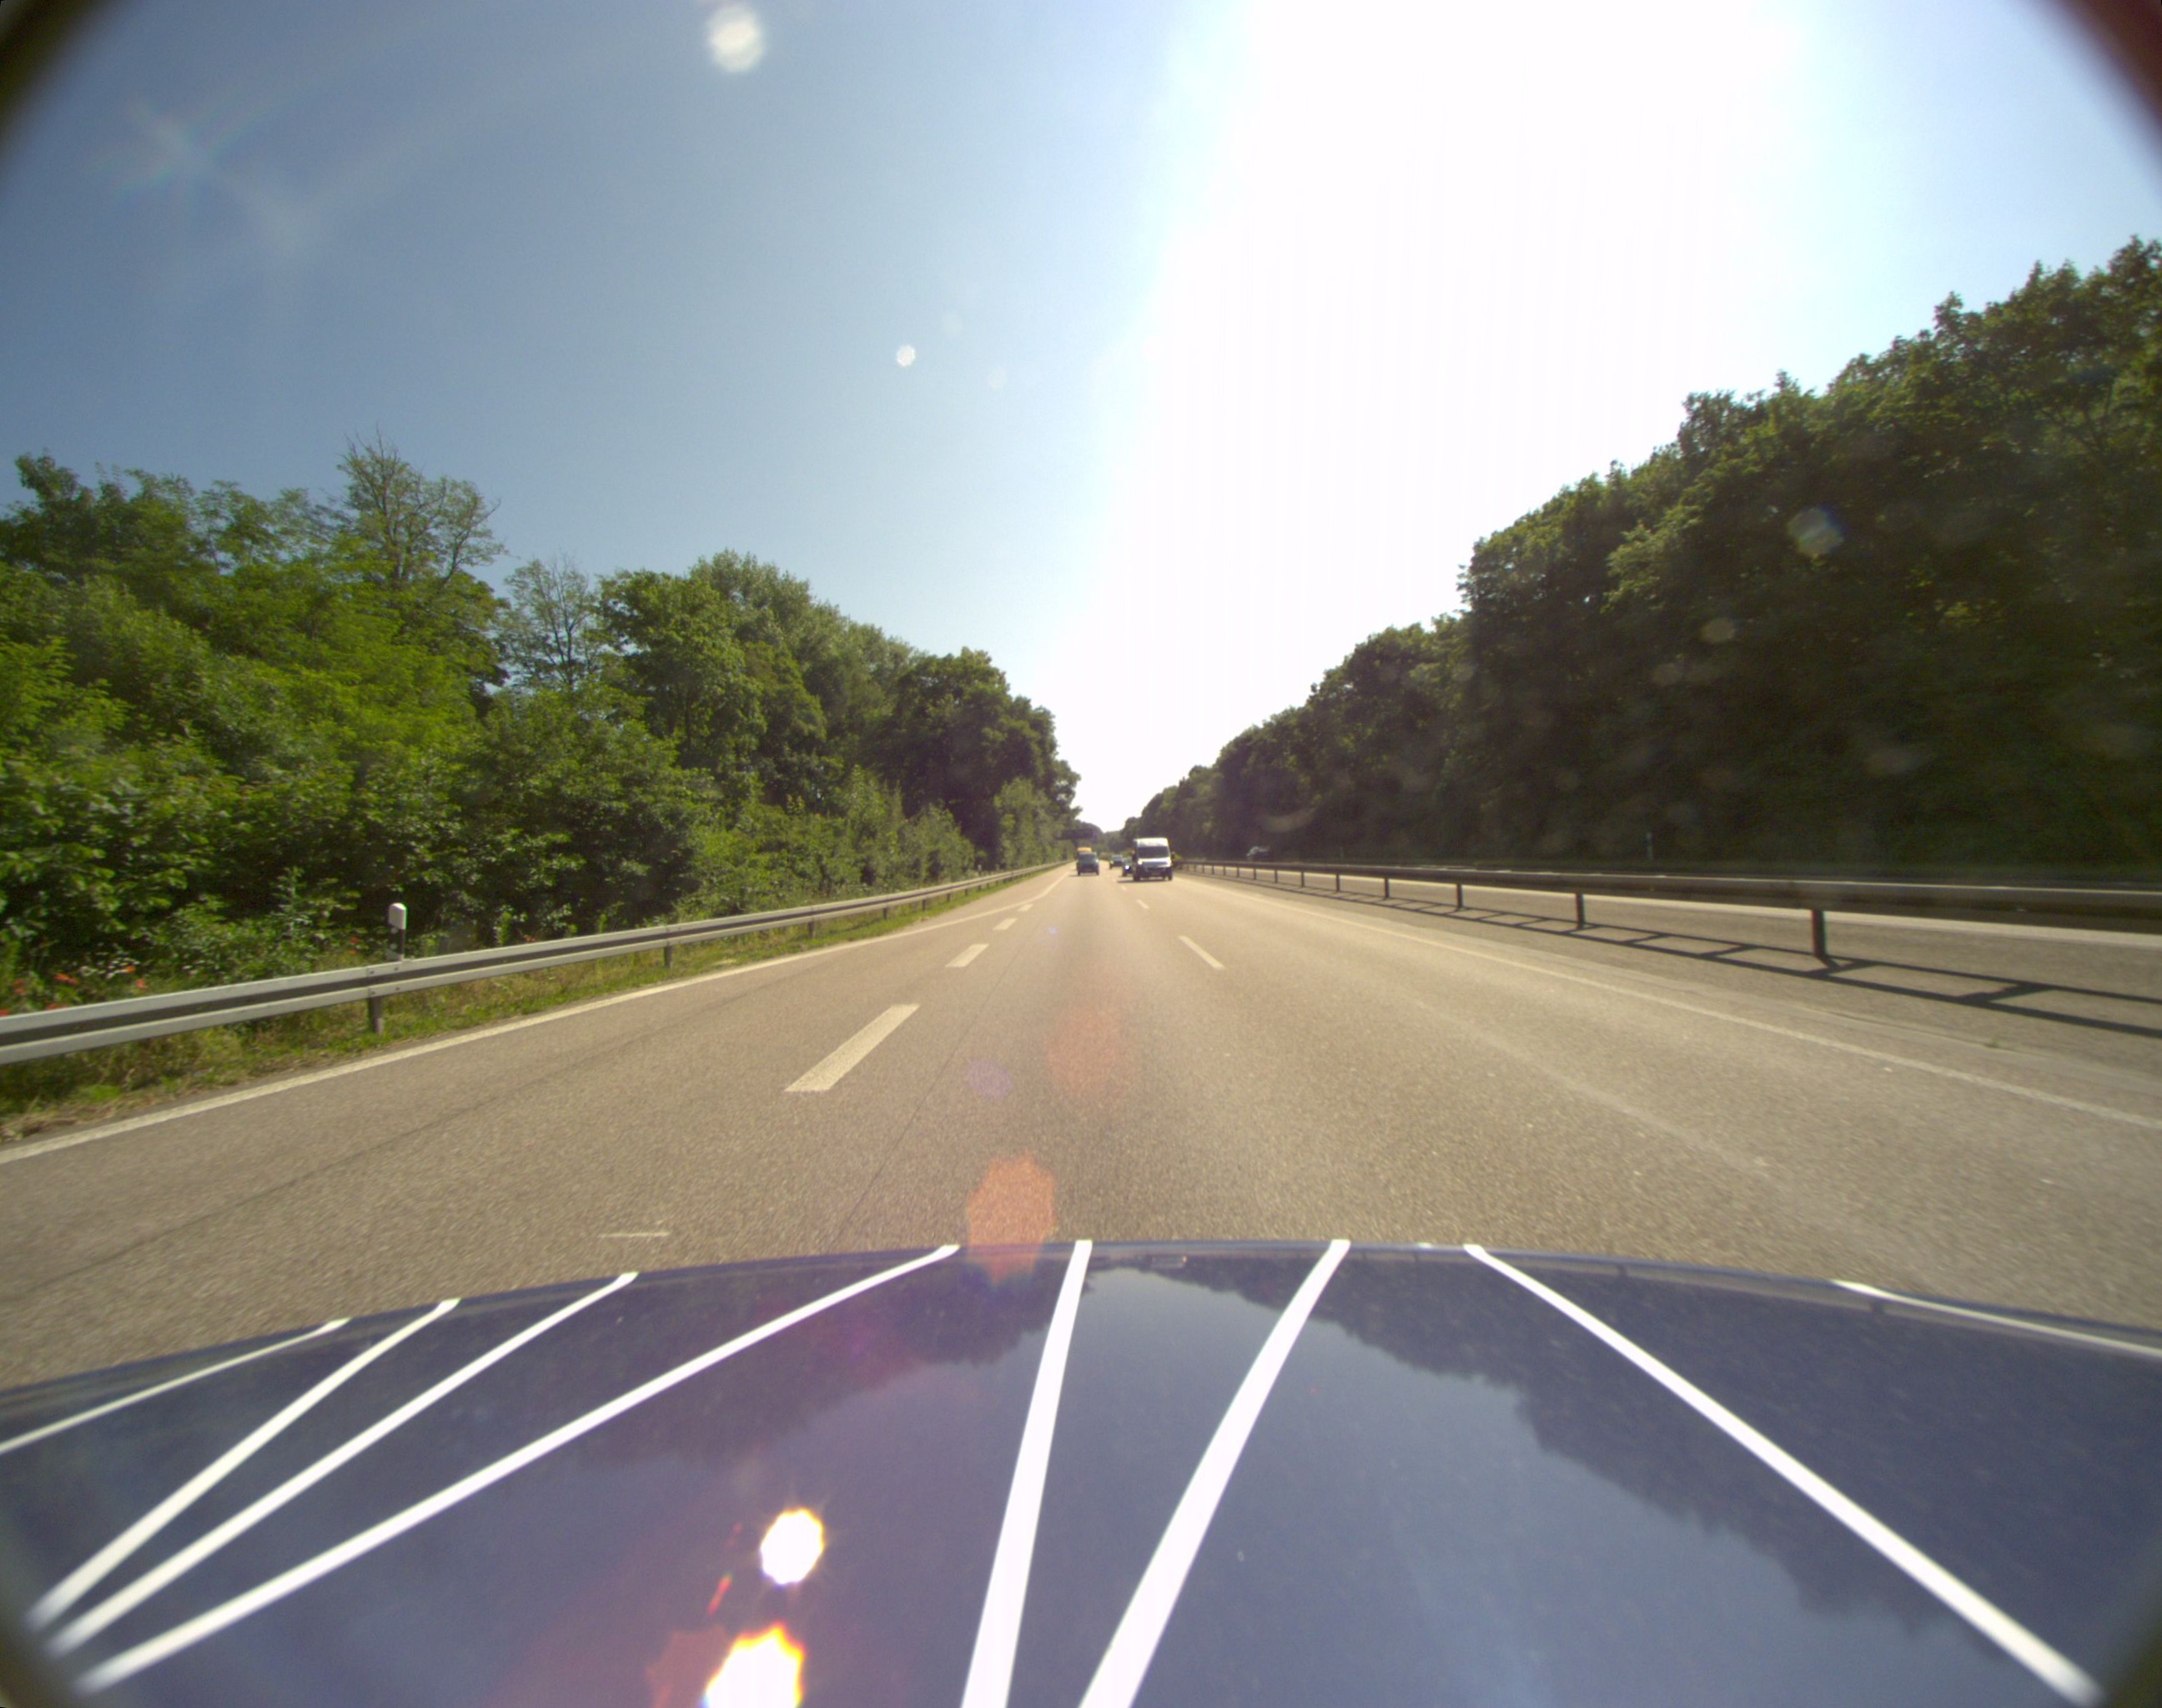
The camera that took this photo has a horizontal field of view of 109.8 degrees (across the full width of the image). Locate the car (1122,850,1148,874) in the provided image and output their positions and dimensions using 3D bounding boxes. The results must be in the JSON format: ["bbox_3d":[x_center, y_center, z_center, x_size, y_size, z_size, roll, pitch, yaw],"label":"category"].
[{"bbox_3d":[3.959,0.575,56.240,1.666,1.624,3.644,-2,0,1],"label":"car"}]

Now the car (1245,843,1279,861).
[{"bbox_3d":[16.136,-0.173,68.072,1.847,1.501,4.550,-2,0,-1],"label":"car"}]

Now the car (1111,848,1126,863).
[{"bbox_3d":[4.391,0.195,89.420,1.517,1.624,3.611,-2,0,1],"label":"car"}]

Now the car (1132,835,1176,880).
[{"bbox_3d":[4.210,0.188,44.620,2.046,2.429,4.637,-2,0,0],"label":"car"}]

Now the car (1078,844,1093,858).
[{"bbox_3d":[0.586,-0.327,91.614,1.737,1.624,3.899,-2,0,1],"label":"car"}]

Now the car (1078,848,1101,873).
[{"bbox_3d":[0.707,0.528,64.340,1.812,1.921,4.581,-2,0,0],"label":"car"}]
